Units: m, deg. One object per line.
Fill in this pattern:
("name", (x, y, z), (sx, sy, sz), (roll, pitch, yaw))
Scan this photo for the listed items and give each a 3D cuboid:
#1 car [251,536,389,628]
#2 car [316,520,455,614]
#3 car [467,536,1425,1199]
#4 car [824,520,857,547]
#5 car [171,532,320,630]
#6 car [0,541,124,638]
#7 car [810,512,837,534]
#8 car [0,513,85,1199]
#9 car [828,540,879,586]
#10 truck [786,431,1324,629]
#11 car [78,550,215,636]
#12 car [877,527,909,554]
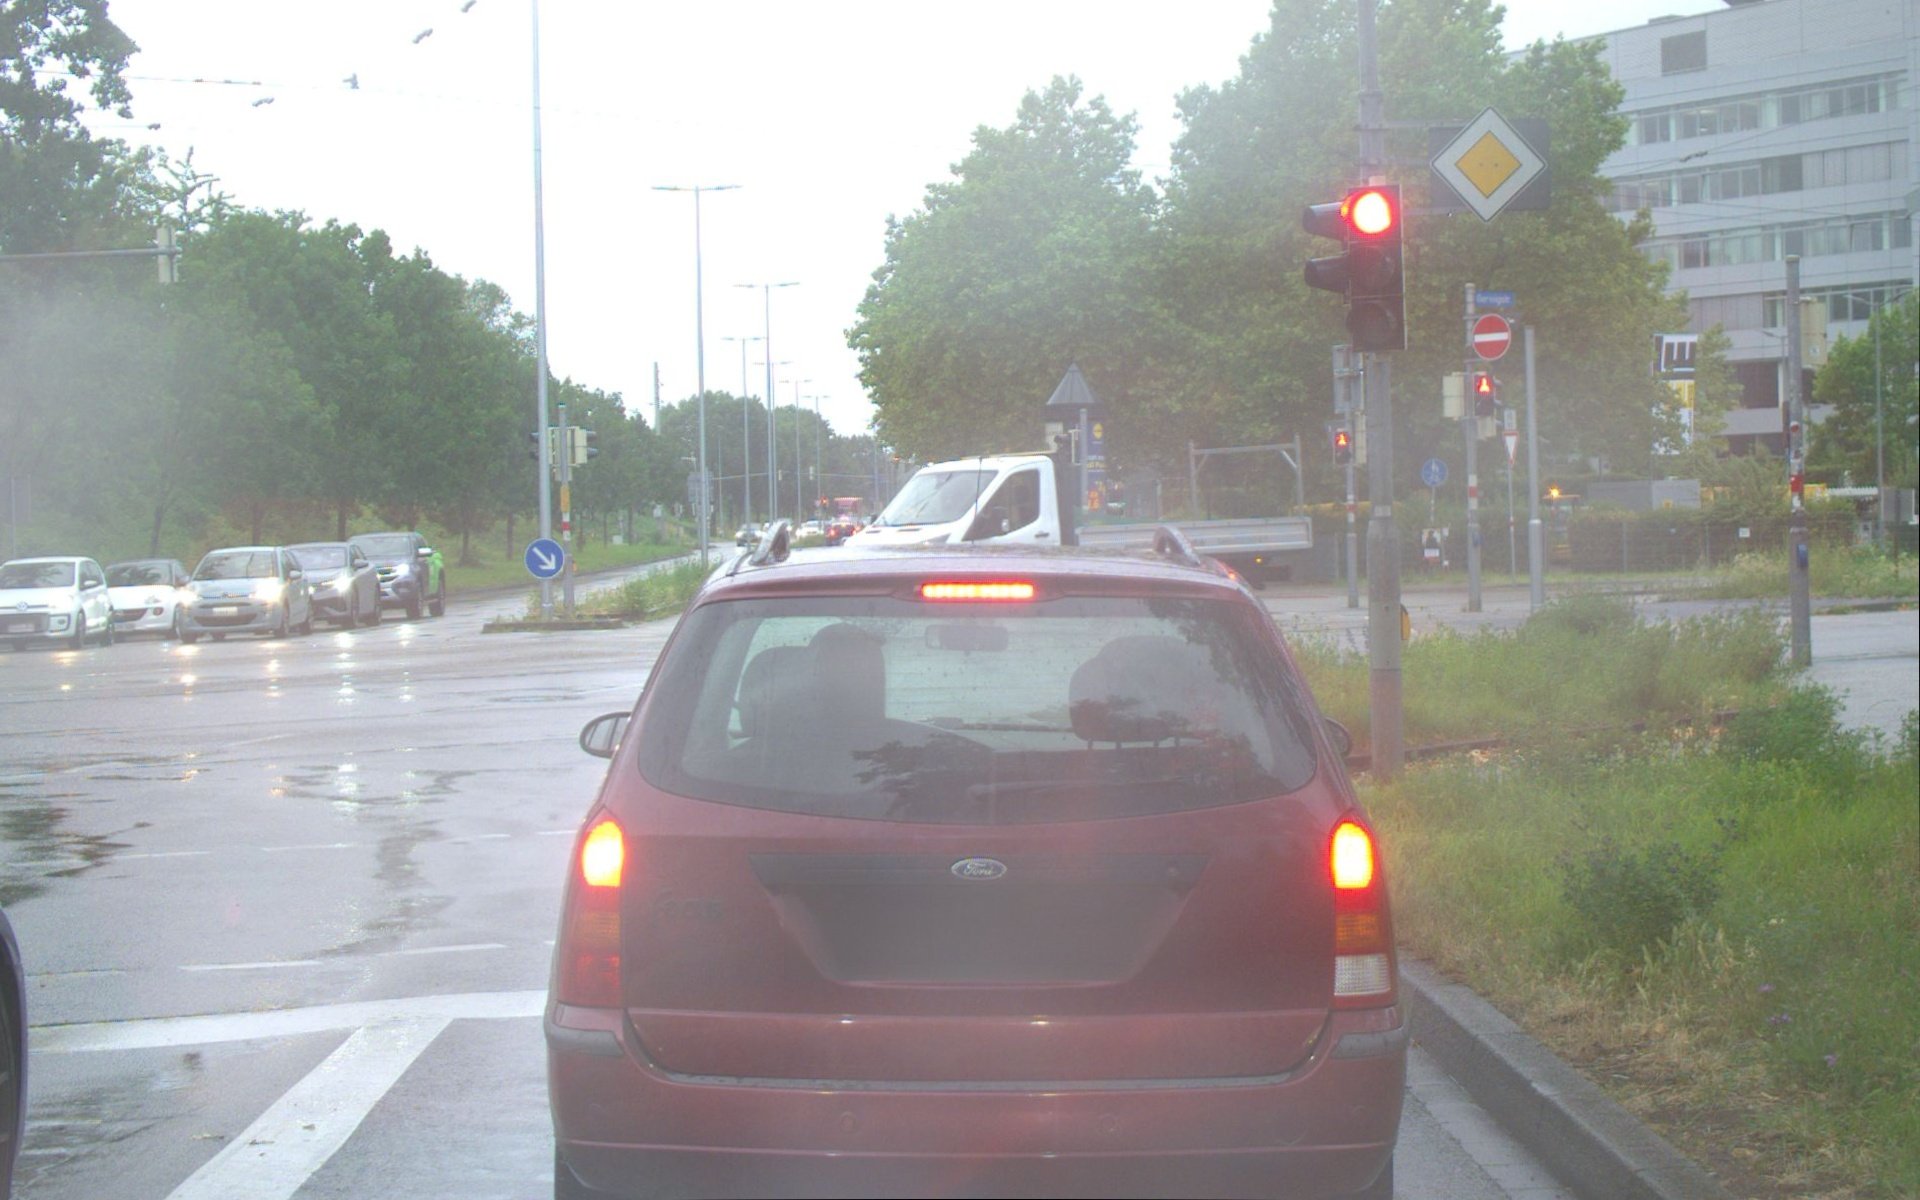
("car", (-11.733, -0.347, 63.287), (1.762, 1.580, 4.814), (-2, 1, -2))
("car", (-11.888, -0.720, 71.481), (2.065, 1.813, 5.542), (-2, 1, -2))
("car", (-0.075, 0.604, 7.818), (1.642, 1.460, 3.733), (1, 1, -2))
("car", (-7.054, -3.937, 202.475), (1.698, 1.522, 3.846), (-1, 1, 1))
("car", (-11.632, -0.339, 56.166), (1.638, 1.468, 3.965), (-2, 1, -1))
("car", (-14.632, -0.195, 55.124), (1.638, 1.447, 3.788), (-2, 1, -3))
("car", (-9.717, -5.489, 245.033), (1.698, 1.522, 3.846), (-1, 1, 1))
("car", (-2.693, 0.646, 4.897), (1.769, 1.568, 4.822), (1, 1, -2))
("car", (-4.247, -1.480, 136.775), (1.993, 1.784, 4.000), (1, 1, -2))
("truck", (1.309, -0.935, 44.034), (6.847, 2.357, 2.482), (-2, 1, -38))
("car", (-14.509, -0.145, 61.452), (1.590, 1.399, 3.823), (-2, 1, -2))
("car", (-3.774, -3.368, 194.240), (1.698, 1.522, 3.846), (-1, 1, 1))
